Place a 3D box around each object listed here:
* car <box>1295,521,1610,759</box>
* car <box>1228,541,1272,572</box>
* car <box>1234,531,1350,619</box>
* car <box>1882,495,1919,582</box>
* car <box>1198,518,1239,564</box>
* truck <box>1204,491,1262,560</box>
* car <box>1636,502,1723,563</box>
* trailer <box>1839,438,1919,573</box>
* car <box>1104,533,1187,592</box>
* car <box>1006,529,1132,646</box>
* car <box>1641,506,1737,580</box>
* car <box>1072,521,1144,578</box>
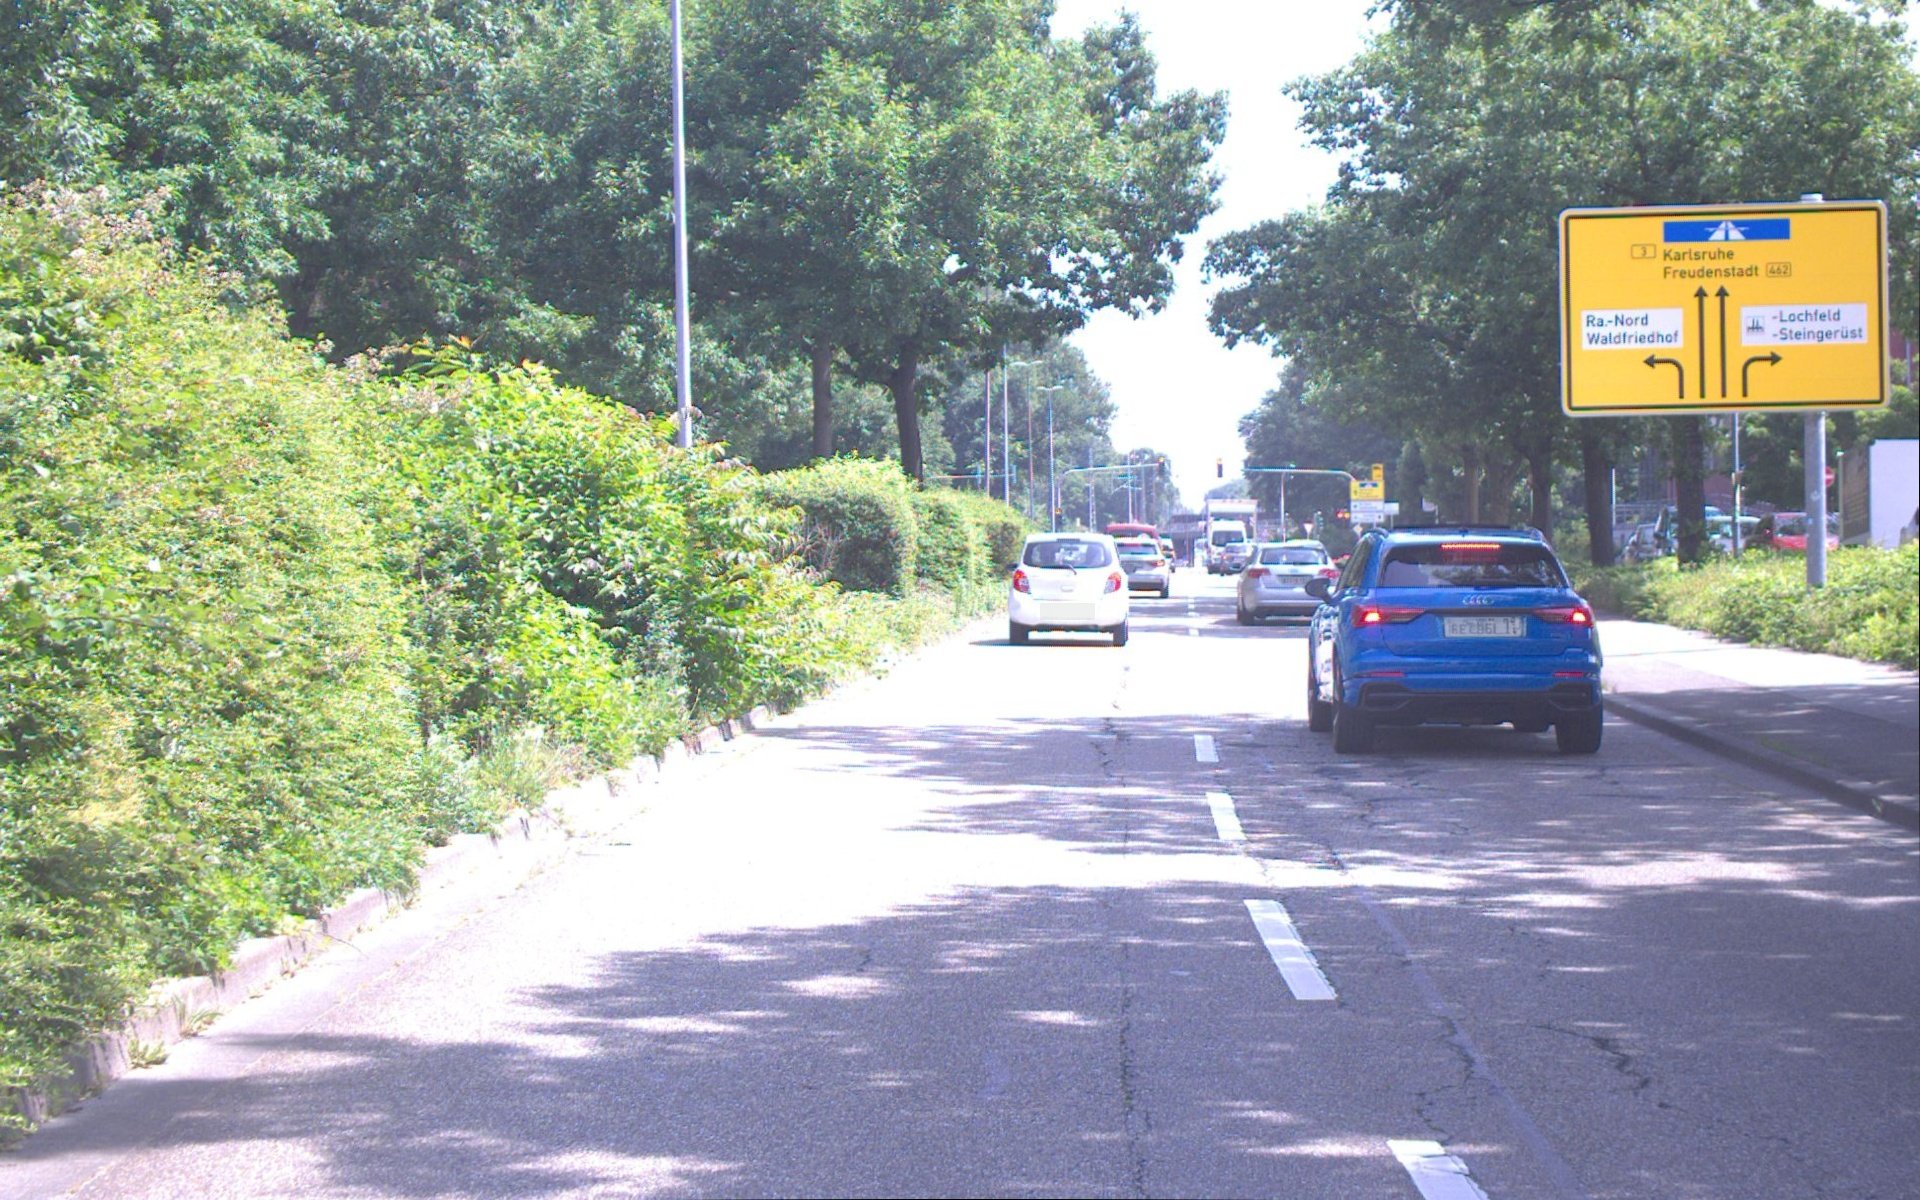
[{"bbox_3d":[3.516,0.248,25.239,1.809,1.587,4.349,0,1,2],"label":"car"},{"bbox_3d":[13.286,-1.987,157.449,1.866,1.305,4.000,-2,1,3],"label":"car"},{"bbox_3d":[5.730,-0.437,59.691,1.866,1.468,4.000,0,1,4],"label":"car"},{"bbox_3d":[14.619,-0.895,49.951,1.619,1.248,3.630,0,1,3],"label":"car"},{"bbox_3d":[12.985,-2.969,172.794,1.994,2.248,4.000,-2,1,4],"label":"car"},{"bbox_3d":[14.515,-3.971,183.191,2.932,3.490,9.157,-2,1,4],"label":"truck"},{"bbox_3d":[17.611,-1.633,84.305,1.701,1.420,4.652,-1,1,7],"label":"car"},{"bbox_3d":[15.325,-1.521,54.911,1.701,2.048,5.482,-1,1,6],"label":"trailer"},{"bbox_3d":[4.458,-0.898,82.104,1.885,1.349,3.999,0,1,4],"label":"car"},{"bbox_3d":[1.479,-0.185,47.622,1.638,1.547,3.325,-1,1,0],"label":"car"},{"bbox_3d":[16.714,-1.305,78.984,1.701,1.632,3.905,-1,1,6],"label":"car"},{"bbox_3d":[4.037,-1.374,94.165,1.795,1.518,4.000,0,1,0],"label":"car"}]
